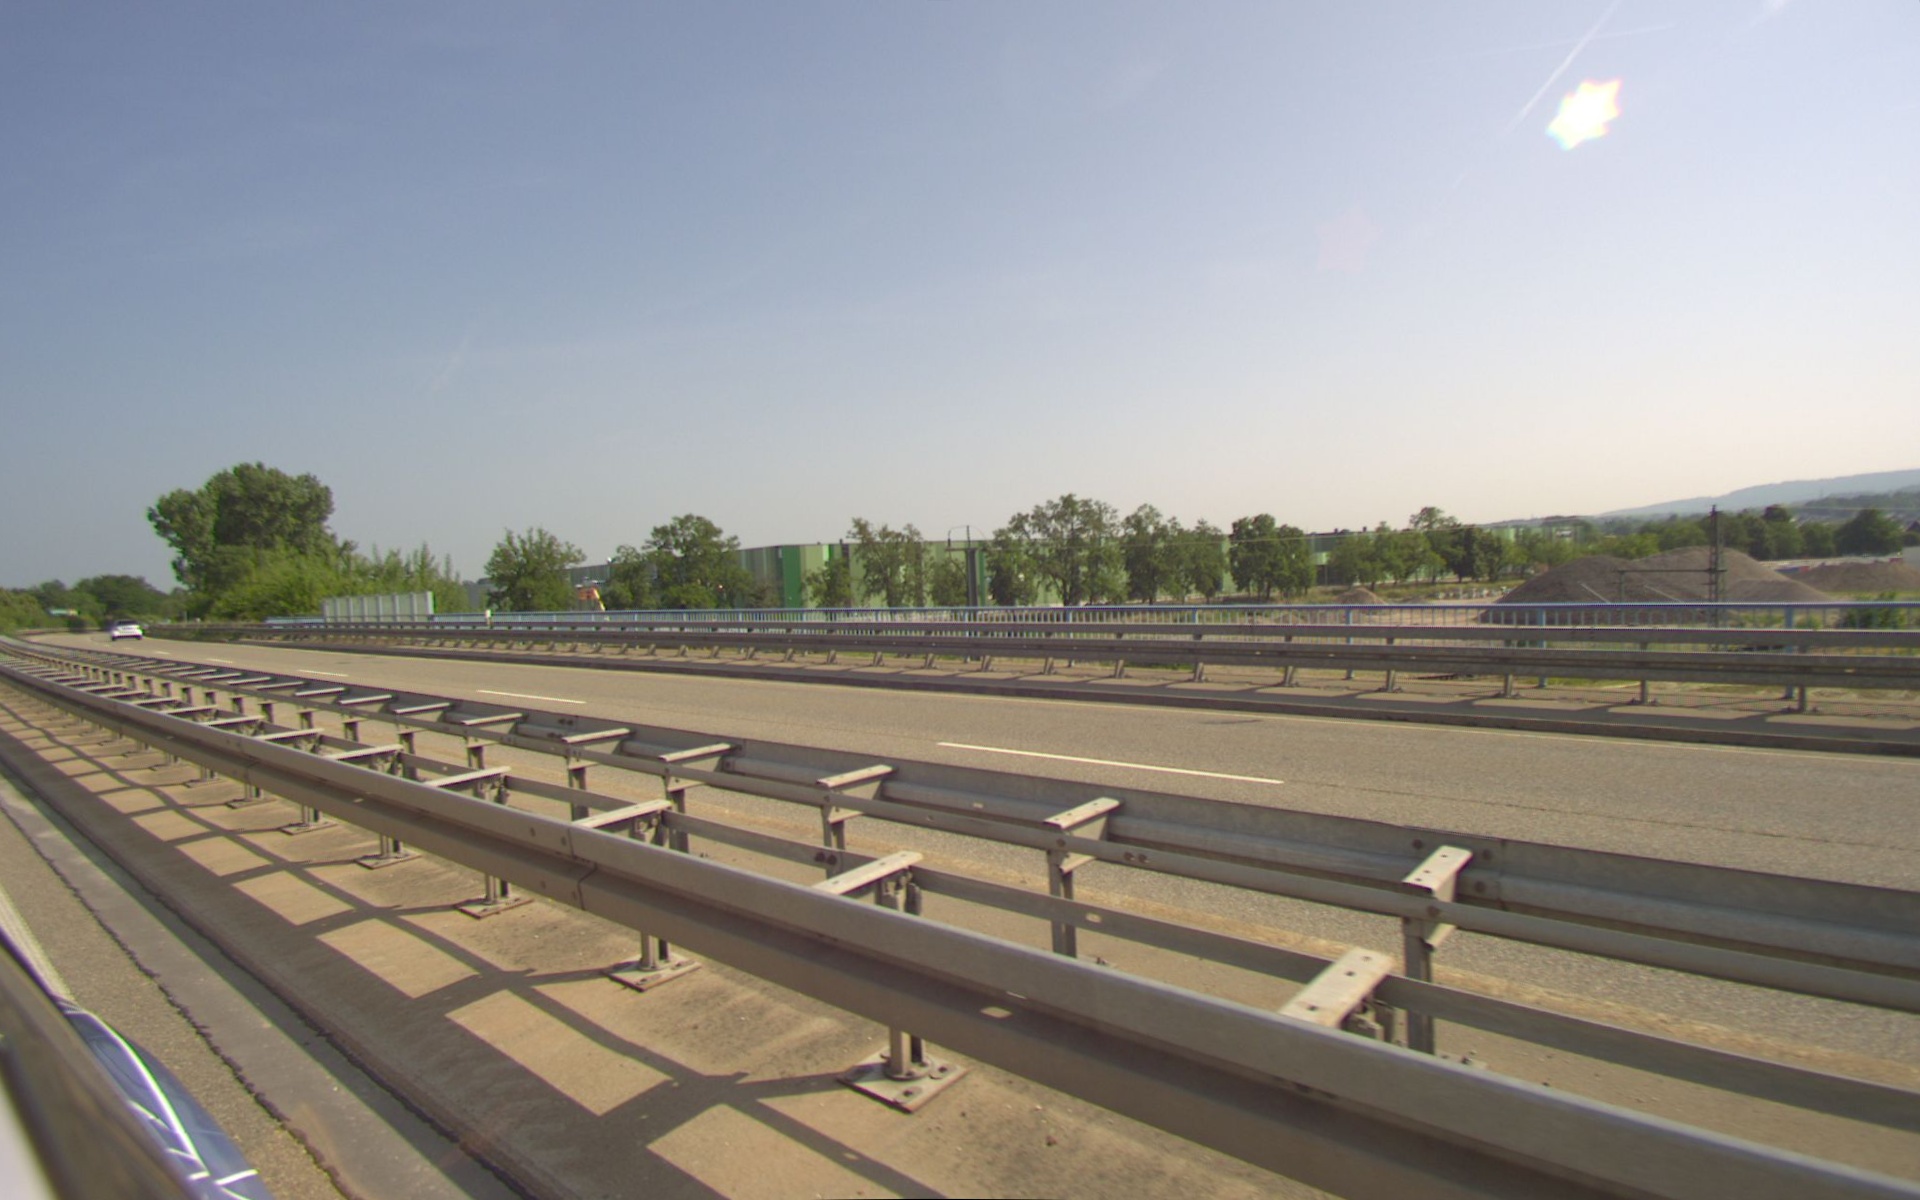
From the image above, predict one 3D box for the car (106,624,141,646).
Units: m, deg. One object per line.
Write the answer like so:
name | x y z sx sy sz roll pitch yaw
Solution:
car | -60.983 2.533 73.766 1.629 1.514 4.003 -2 0 -44
